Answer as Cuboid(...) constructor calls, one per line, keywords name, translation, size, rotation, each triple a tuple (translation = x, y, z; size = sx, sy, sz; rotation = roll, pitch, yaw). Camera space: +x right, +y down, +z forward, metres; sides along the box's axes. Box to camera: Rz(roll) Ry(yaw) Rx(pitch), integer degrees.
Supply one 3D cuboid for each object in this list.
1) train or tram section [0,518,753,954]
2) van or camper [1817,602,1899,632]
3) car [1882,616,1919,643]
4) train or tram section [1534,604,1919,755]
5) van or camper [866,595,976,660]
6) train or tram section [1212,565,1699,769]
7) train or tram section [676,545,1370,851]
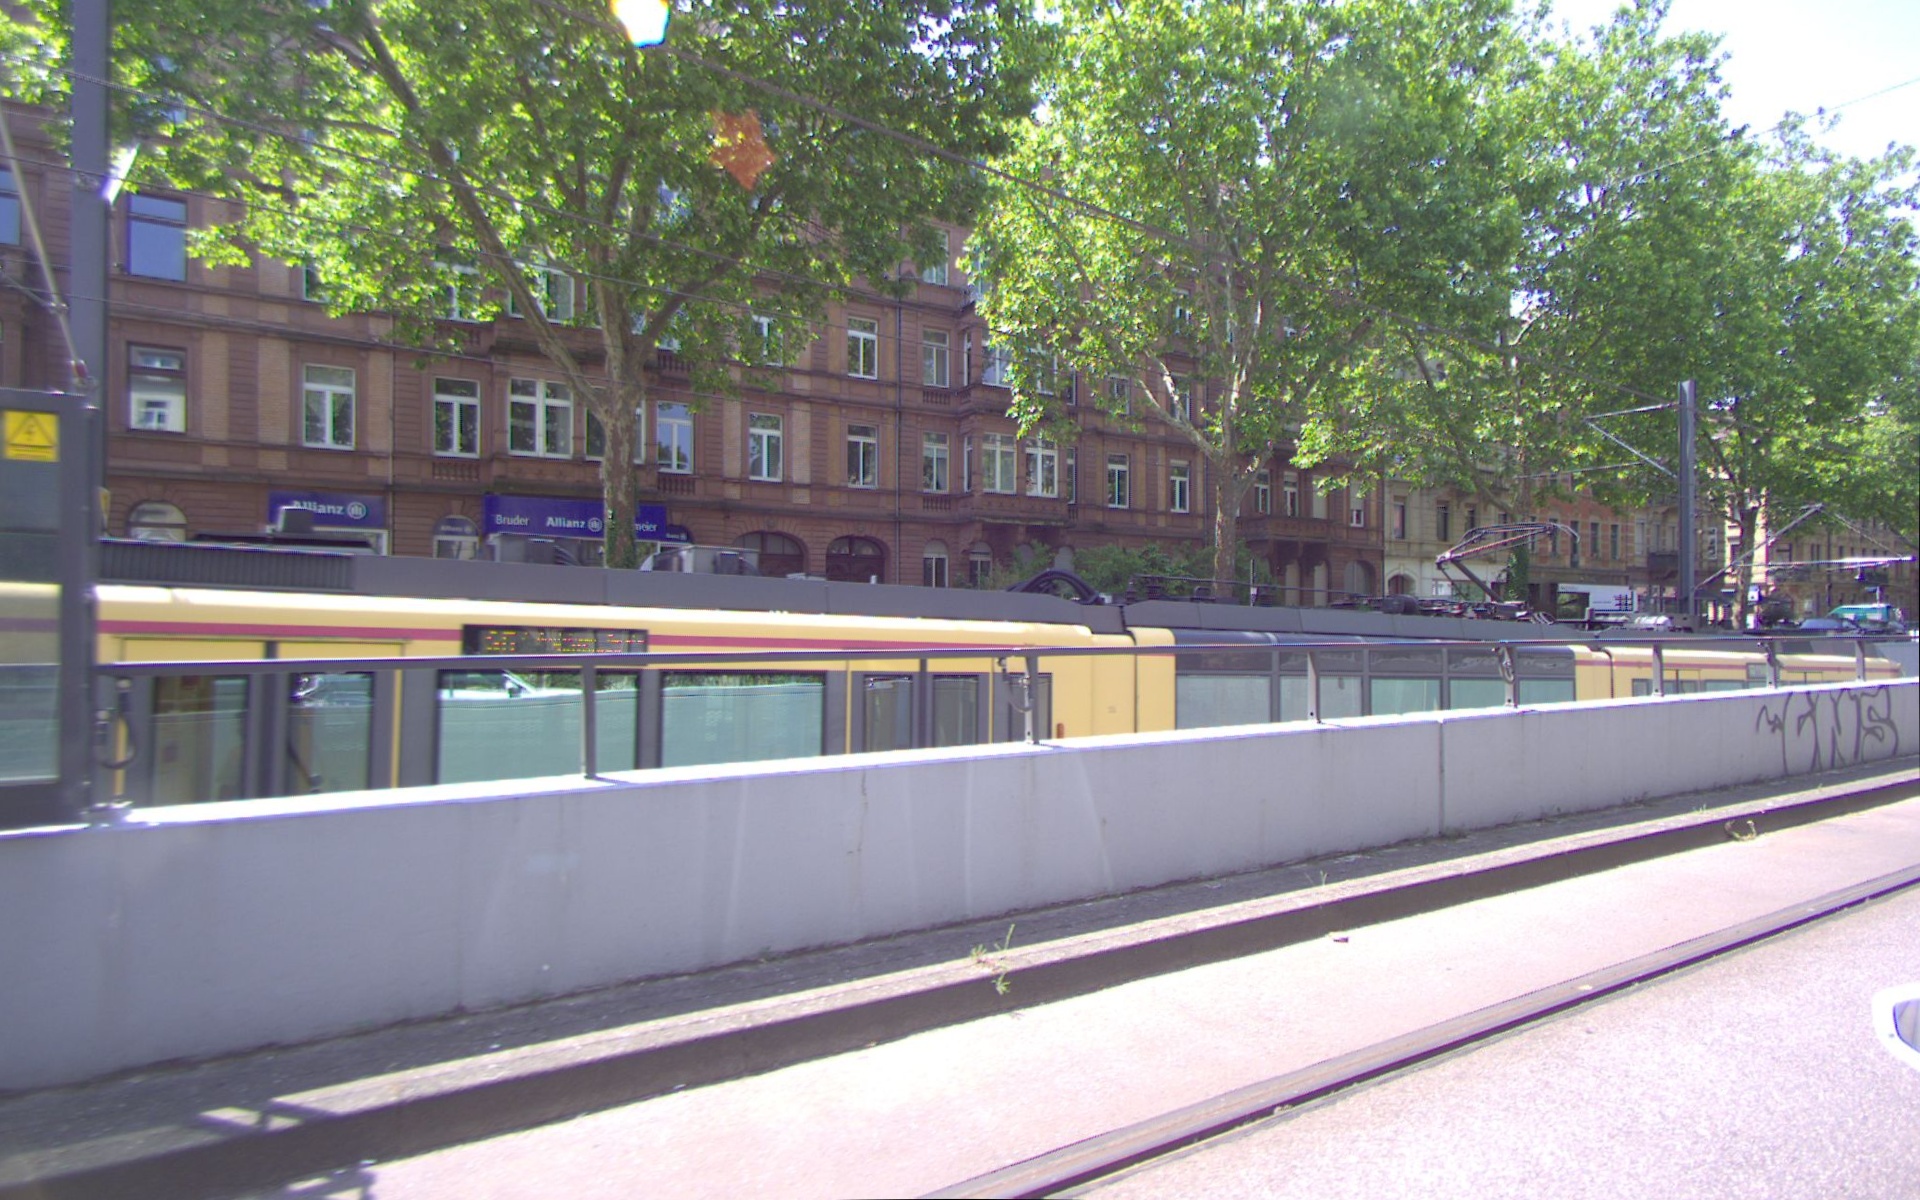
Cuboid(name="train or tram section", translation=(-5.980, 0.801, 7.213), size=(8.420, 2.542, 2.715), rotation=(1, 0, -32))
Cuboid(name="van or camper", translation=(63.487, 1.186, 71.053), size=(1.978, 2.040, 3.965), rotation=(1, -1, -32))
Cuboid(name="car", translation=(63.045, 1.937, 66.484), size=(3.954, 1.706, 1.983), rotation=(1, -1, -31))
Cuboid(name="train or tram section", translation=(15.972, 1.679, 20.580), size=(9.974, 2.541, 2.716), rotation=(5, -2, -31))
Cuboid(name="van or camper", translation=(-1.300, 0.824, 31.415), size=(1.905, 1.861, 4.531), rotation=(1, -1, -24))
Cuboid(name="train or tram section", translation=(8.057, 1.105, 15.837), size=(8.394, 2.541, 2.716), rotation=(4, -2, -31))
Cuboid(name="train or tram section", translation=(1.044, 0.865, 11.599), size=(7.913, 2.542, 2.715), rotation=(1, 0, -32))
